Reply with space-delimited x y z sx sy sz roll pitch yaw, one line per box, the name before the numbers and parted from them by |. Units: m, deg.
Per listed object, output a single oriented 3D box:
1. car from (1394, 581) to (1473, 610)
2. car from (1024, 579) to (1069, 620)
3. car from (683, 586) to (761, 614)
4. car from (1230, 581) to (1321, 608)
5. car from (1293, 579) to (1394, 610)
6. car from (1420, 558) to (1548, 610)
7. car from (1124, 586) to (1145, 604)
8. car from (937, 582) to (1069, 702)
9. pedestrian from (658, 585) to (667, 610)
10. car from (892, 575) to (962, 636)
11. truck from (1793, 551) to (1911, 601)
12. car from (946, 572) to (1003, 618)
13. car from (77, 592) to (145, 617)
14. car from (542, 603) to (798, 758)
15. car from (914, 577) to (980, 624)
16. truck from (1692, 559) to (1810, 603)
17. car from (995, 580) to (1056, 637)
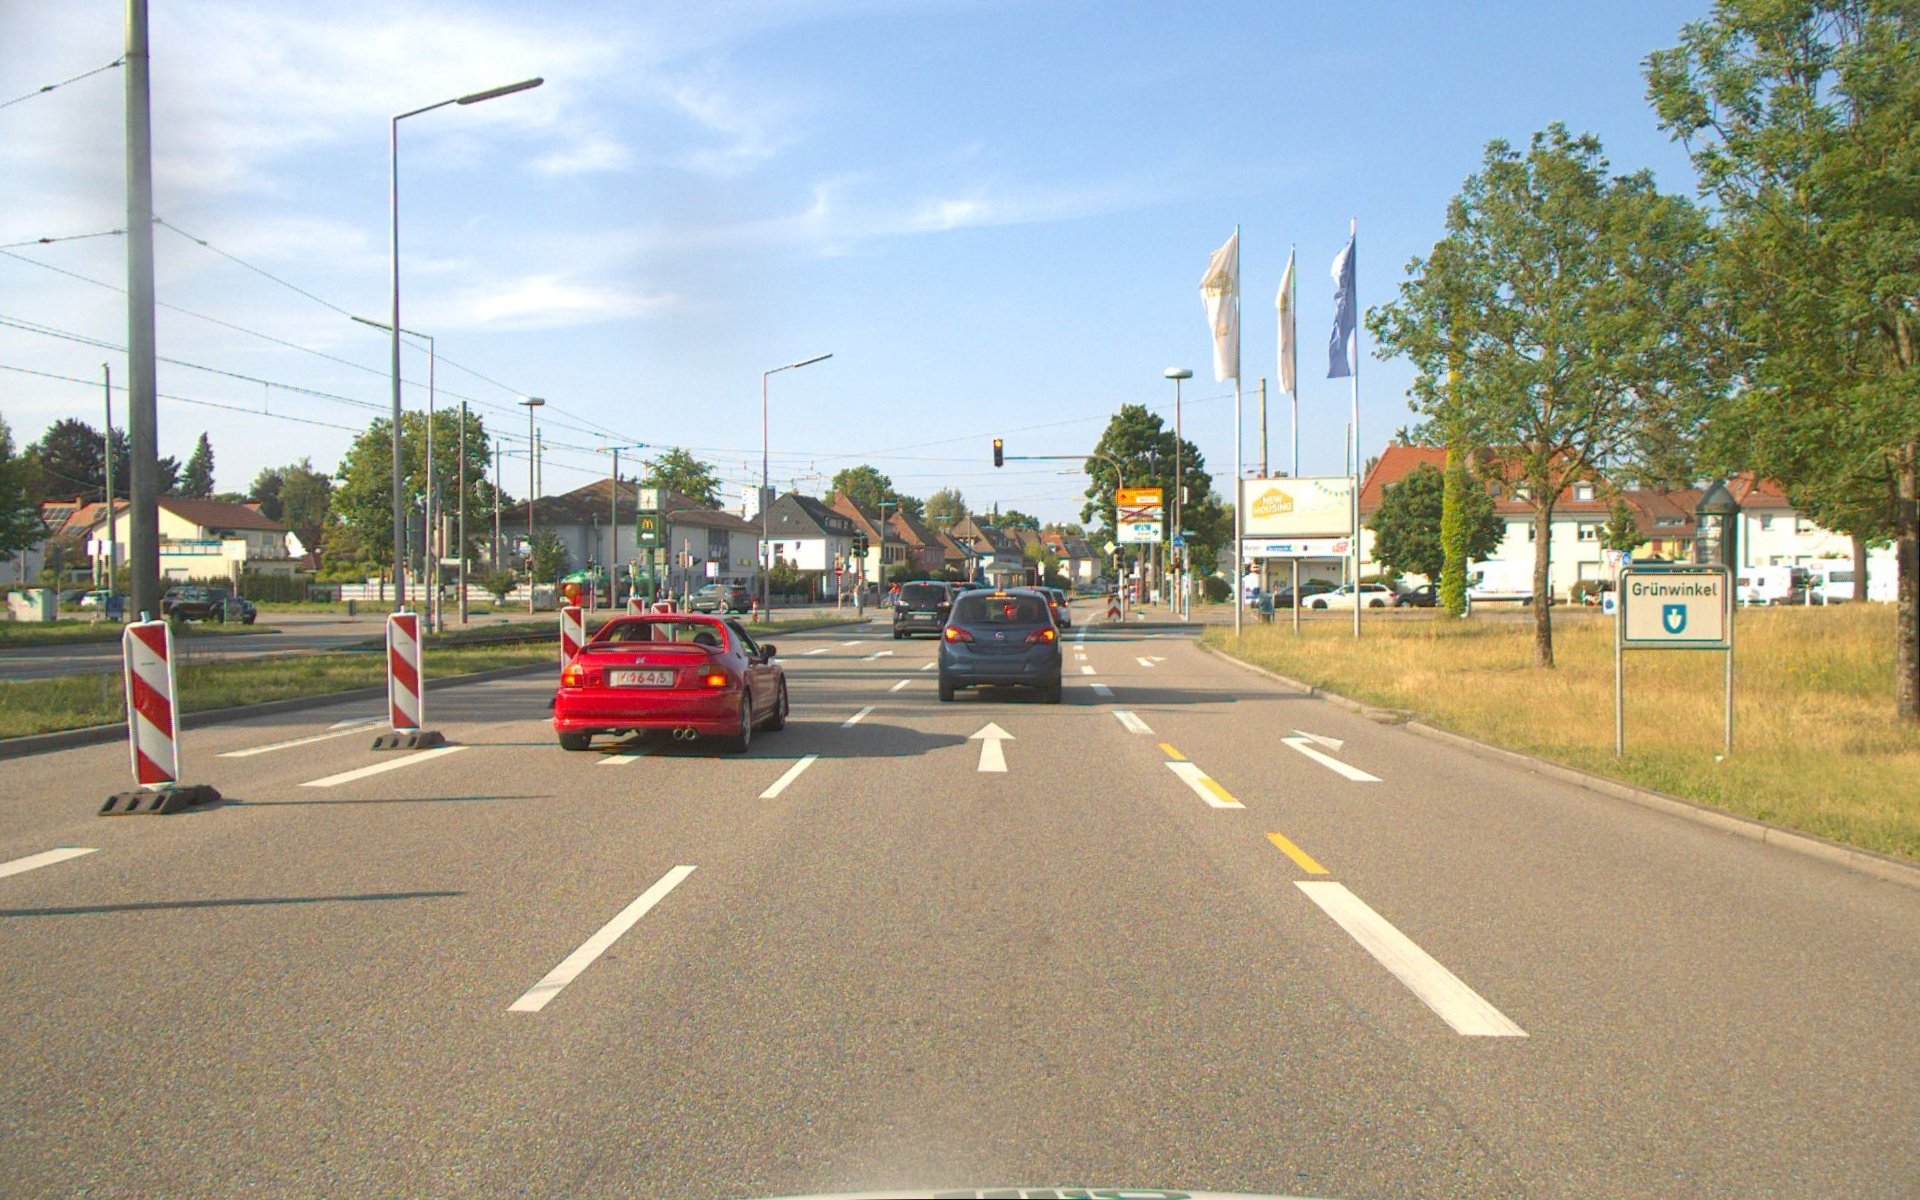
car | 25.510 -0.241 89.175 3.902 1.478 1.717 0 0 7
car | 3.273 -0.028 62.221 1.621 1.468 4.016 -1 0 4
car | -13.183 -0.022 91.516 3.915 1.512 1.995 0 1 33
car | 17.193 -0.296 90.298 4.721 1.436 1.717 0 0 7
car | 19.975 -0.285 86.296 4.986 1.590 1.841 0 0 7
car | 27.084 -0.819 85.651 6.076 2.629 2.002 0 0 6
car | 14.332 -0.412 135.406 1.639 1.422 4.003 1 0 7
car | 0.546 0.517 23.498 1.706 1.532 4.222 0 1 0
pedestrian | -19.097 -0.168 106.225 0.501 1.627 0.540 0 0 2
car | -0.920 0.136 48.227 1.726 1.700 4.086 0 1 3
truck | 53.328 -1.406 98.974 1.878 2.904 5.992 -1 0 -39
car | 0.591 -0.219 63.017 1.474 1.680 4.748 -1 0 9
car | -59.824 0.321 116.645 1.951 1.713 4.223 1 0 13
car | -2.655 0.689 16.001 1.695 1.227 3.848 1 1 1
car | -0.400 -0.011 55.903 1.663 1.534 4.557 0 1 7
truck | 47.322 -1.156 99.074 2.245 2.568 6.298 -1 1 -28
car | 1.967 0.228 48.833 1.670 1.579 3.980 -1 0 4
